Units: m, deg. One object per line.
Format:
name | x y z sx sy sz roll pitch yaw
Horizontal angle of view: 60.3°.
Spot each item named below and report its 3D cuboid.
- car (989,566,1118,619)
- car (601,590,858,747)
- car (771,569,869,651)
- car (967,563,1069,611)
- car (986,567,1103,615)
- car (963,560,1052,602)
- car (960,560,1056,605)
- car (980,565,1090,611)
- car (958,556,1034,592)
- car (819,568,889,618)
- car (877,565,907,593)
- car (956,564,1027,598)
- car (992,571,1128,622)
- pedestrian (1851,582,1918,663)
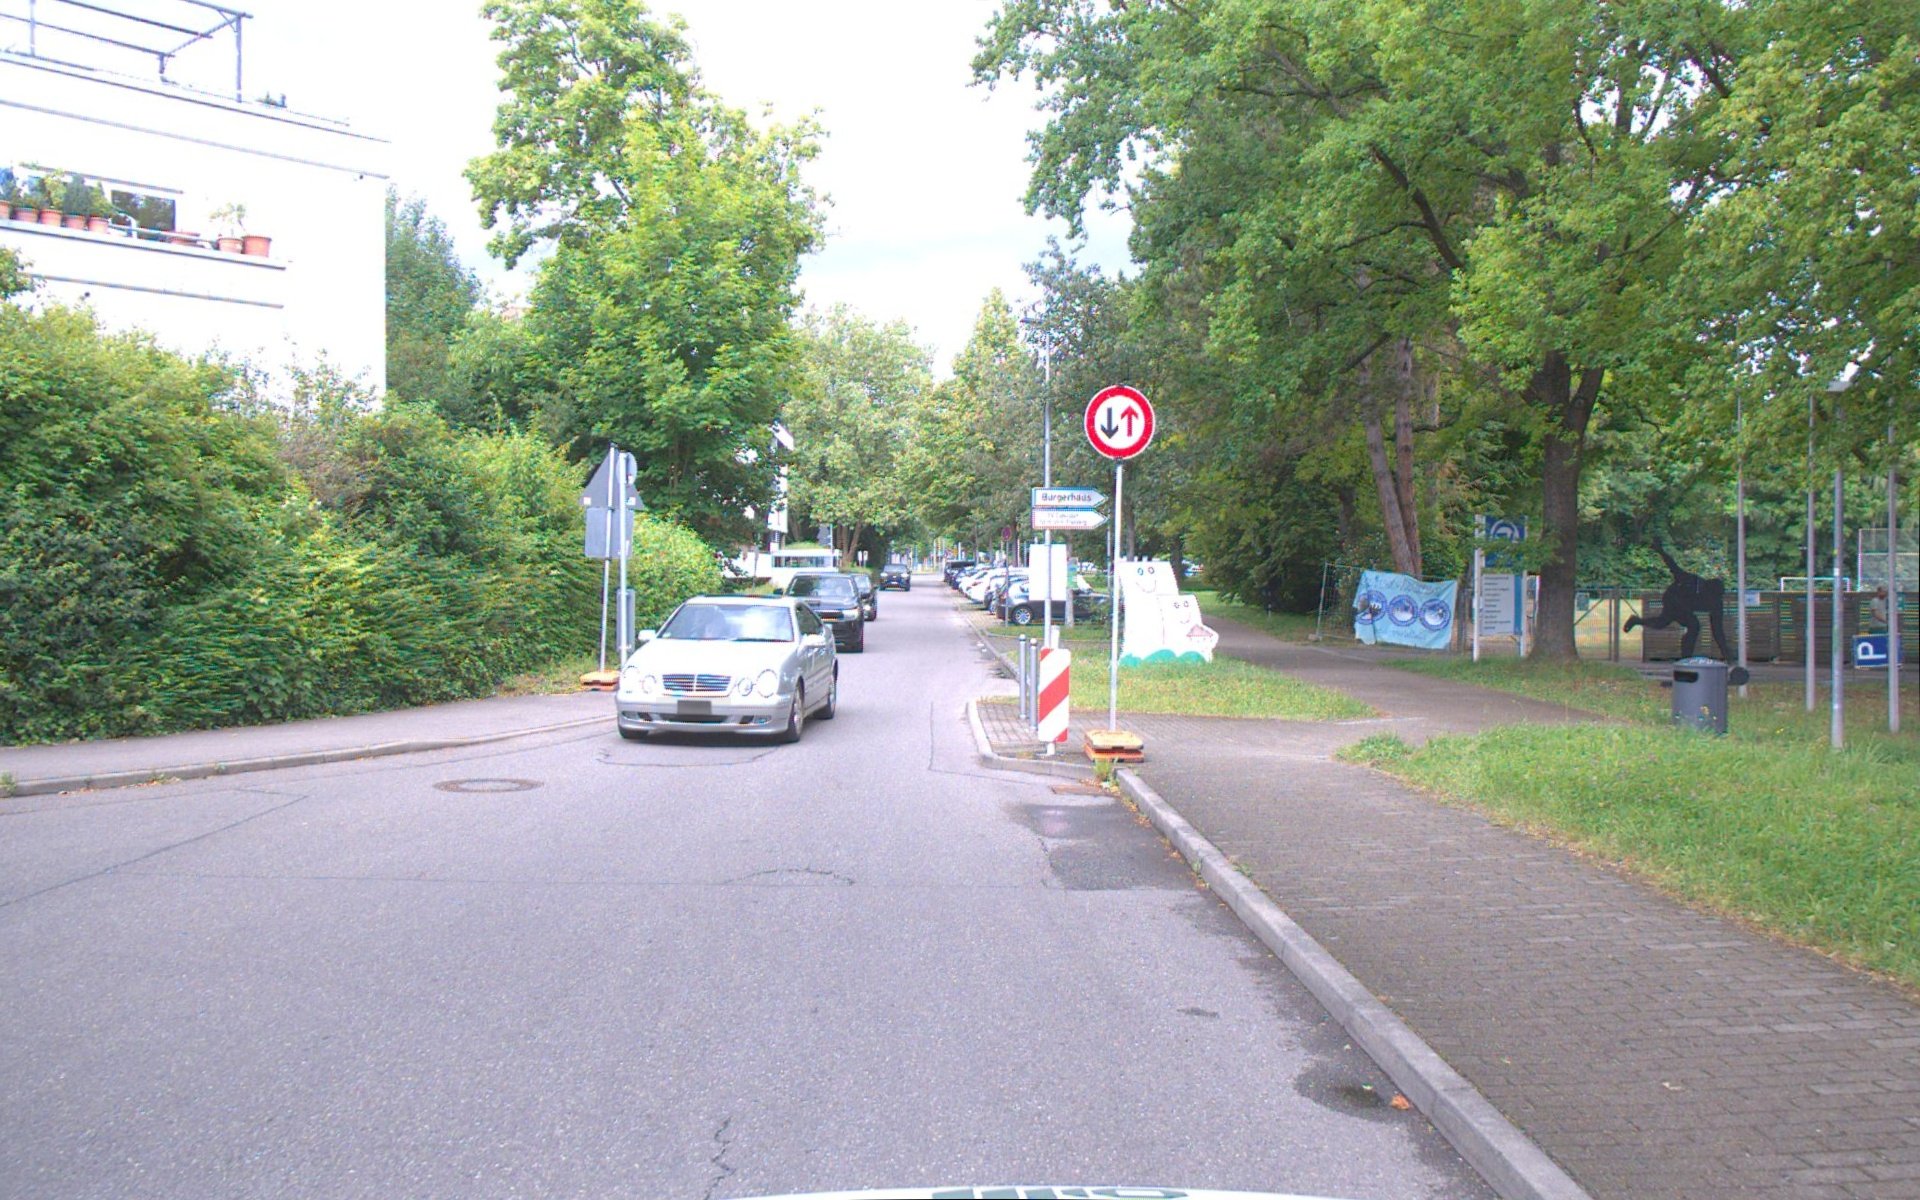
car | 2.982 -0.244 53.293 3.981 1.596 1.821 -1 -1 -2
car | -2.171 0.590 16.749 1.744 1.329 4.298 1 1 4
car | -2.909 0.167 35.130 1.766 1.619 4.295 1 1 -1
car | 2.382 -0.548 68.739 3.984 1.716 1.821 -3 1 -5
car | 2.971 -0.320 58.550 3.981 1.595 1.822 -1 1 -2
car | 2.228 -0.895 78.408 3.984 1.716 1.821 -3 1 -5
car | 2.094 -0.770 72.584 3.984 1.716 1.821 -3 1 -5
car | 2.864 -0.468 63.530 3.984 1.514 1.821 -3 1 -5
car | 1.980 -1.454 92.215 3.984 1.716 1.821 -3 1 -5
car | -3.543 -0.264 56.133 1.765 1.619 4.299 1 1 4
car | -4.517 -1.401 110.129 1.929 1.778 4.337 1 1 -2
car | 1.848 -1.131 98.035 3.984 1.716 1.821 -3 1 -5
car | 3.041 -0.094 50.989 3.981 1.459 1.999 -1 -1 -2
pedestrian | 19.647 0.479 35.161 1.124 1.704 0.793 -2 -1 24
